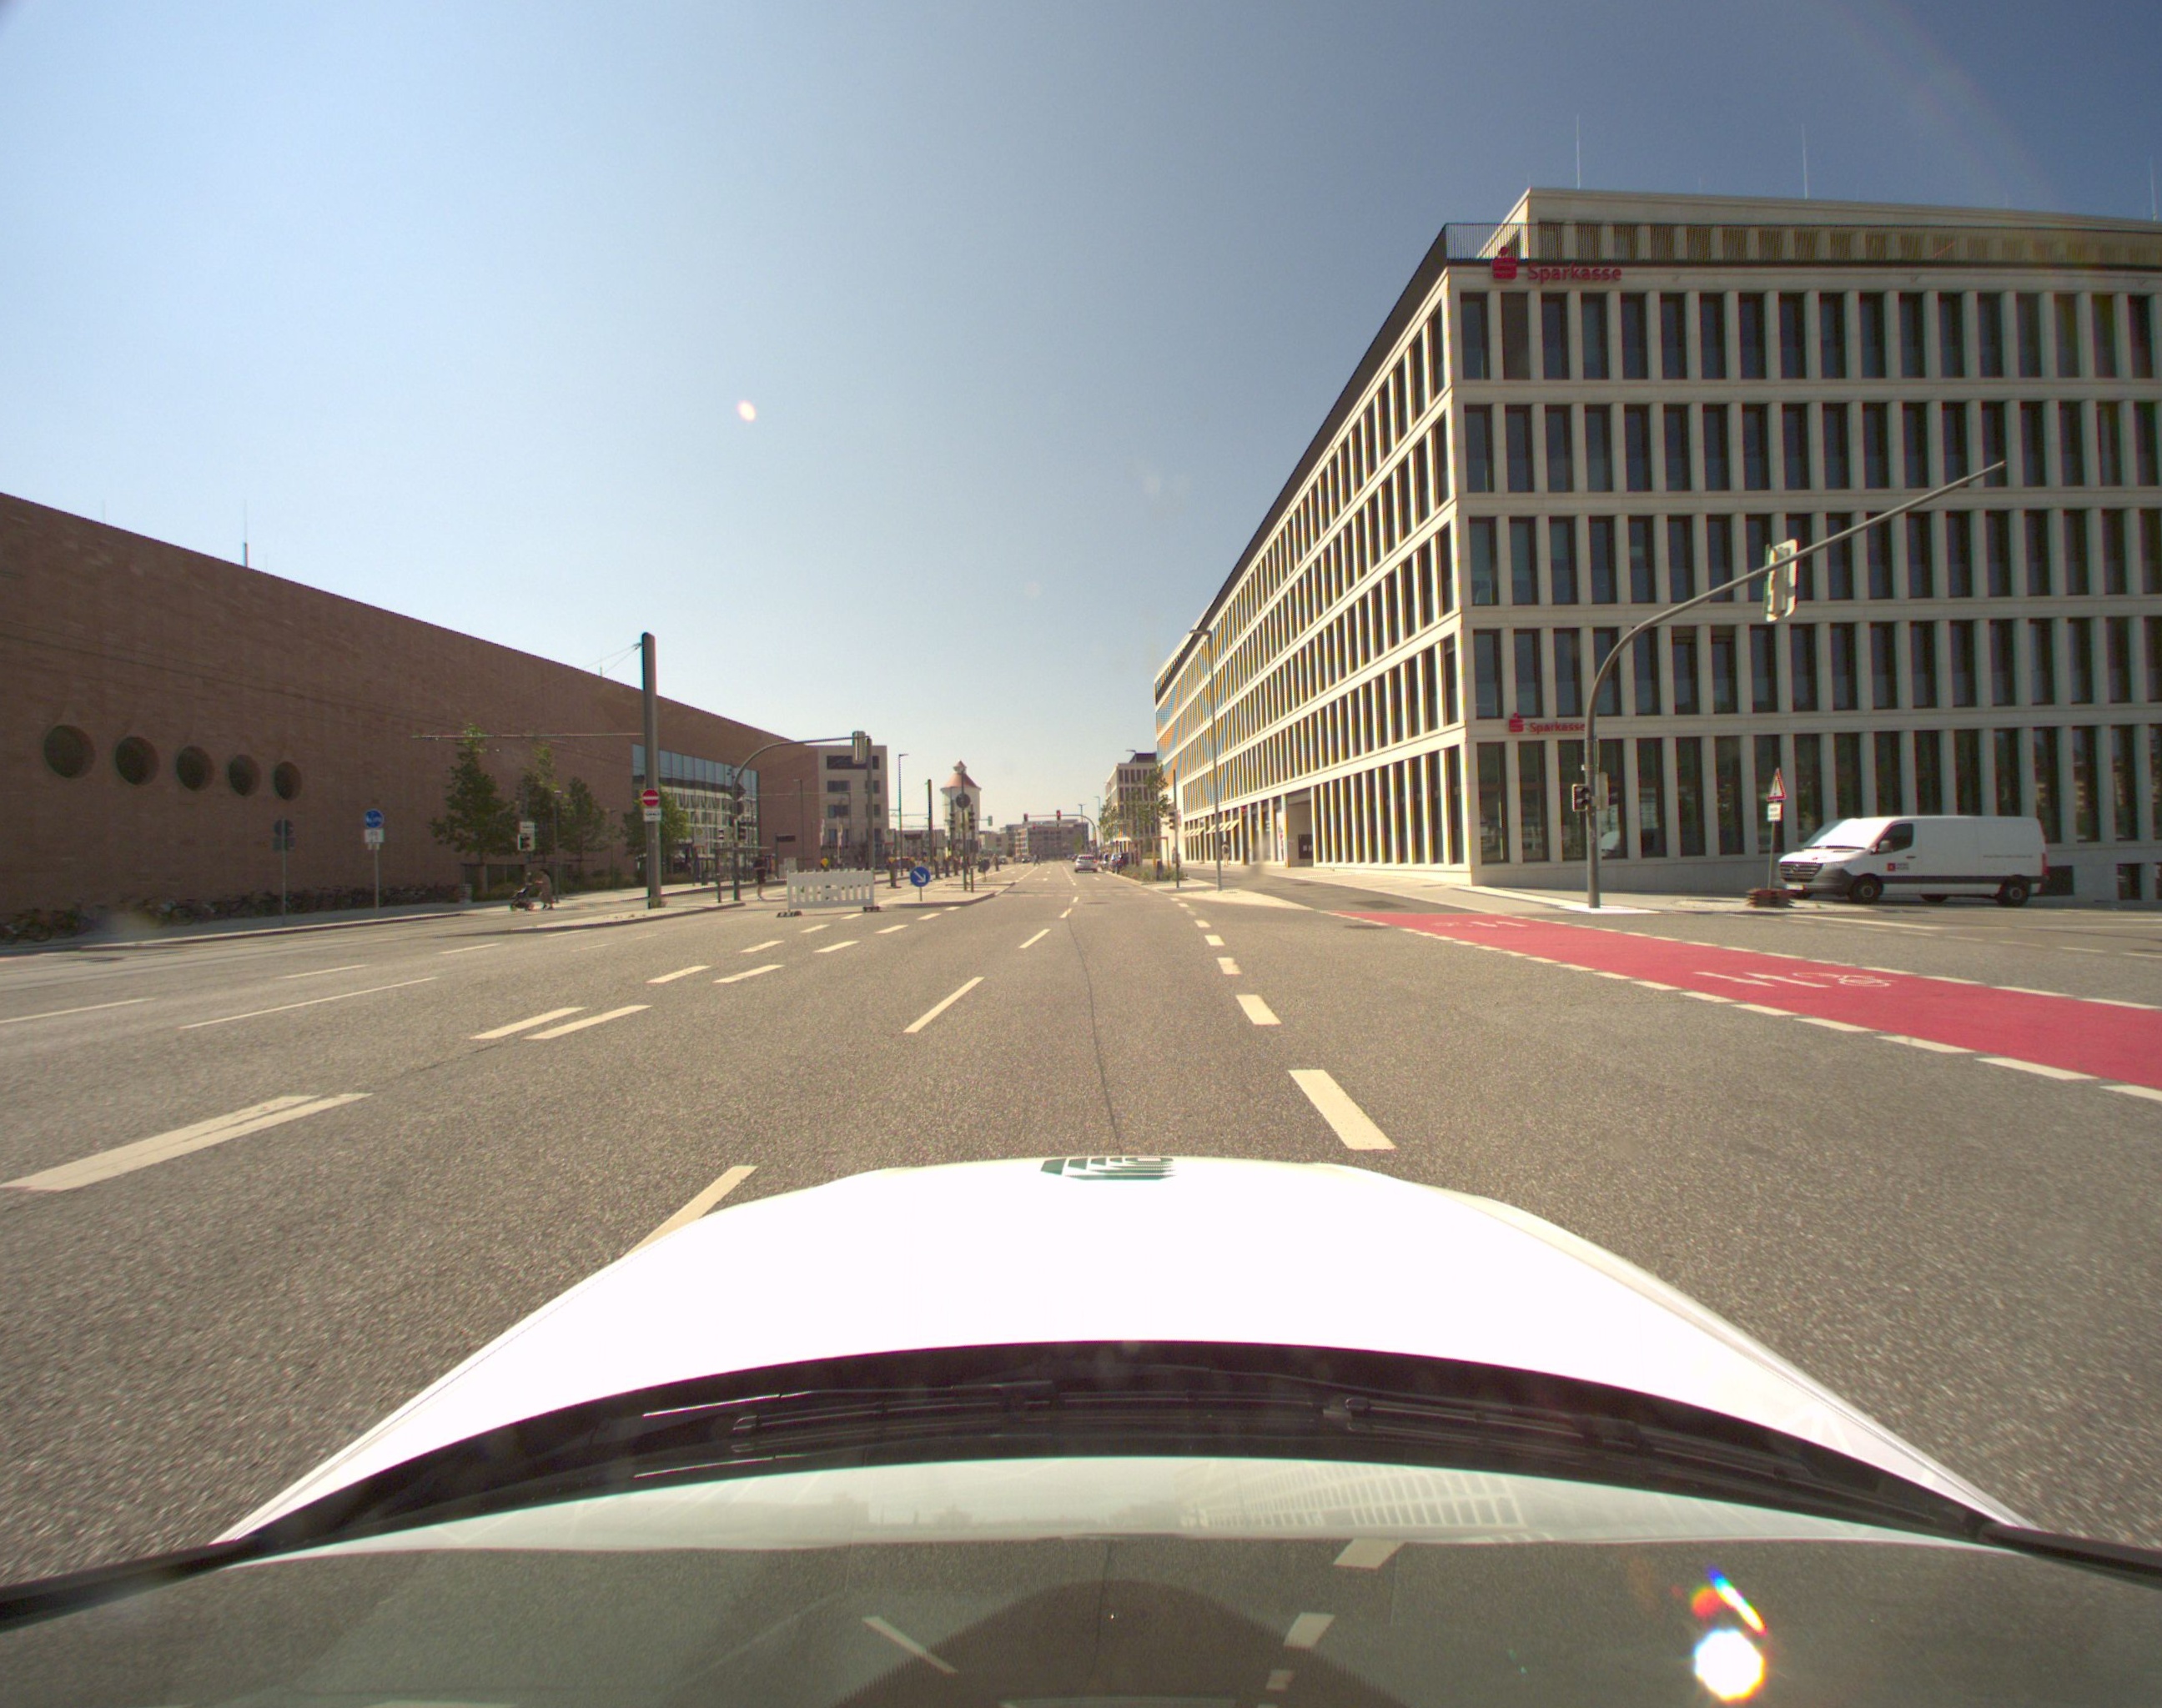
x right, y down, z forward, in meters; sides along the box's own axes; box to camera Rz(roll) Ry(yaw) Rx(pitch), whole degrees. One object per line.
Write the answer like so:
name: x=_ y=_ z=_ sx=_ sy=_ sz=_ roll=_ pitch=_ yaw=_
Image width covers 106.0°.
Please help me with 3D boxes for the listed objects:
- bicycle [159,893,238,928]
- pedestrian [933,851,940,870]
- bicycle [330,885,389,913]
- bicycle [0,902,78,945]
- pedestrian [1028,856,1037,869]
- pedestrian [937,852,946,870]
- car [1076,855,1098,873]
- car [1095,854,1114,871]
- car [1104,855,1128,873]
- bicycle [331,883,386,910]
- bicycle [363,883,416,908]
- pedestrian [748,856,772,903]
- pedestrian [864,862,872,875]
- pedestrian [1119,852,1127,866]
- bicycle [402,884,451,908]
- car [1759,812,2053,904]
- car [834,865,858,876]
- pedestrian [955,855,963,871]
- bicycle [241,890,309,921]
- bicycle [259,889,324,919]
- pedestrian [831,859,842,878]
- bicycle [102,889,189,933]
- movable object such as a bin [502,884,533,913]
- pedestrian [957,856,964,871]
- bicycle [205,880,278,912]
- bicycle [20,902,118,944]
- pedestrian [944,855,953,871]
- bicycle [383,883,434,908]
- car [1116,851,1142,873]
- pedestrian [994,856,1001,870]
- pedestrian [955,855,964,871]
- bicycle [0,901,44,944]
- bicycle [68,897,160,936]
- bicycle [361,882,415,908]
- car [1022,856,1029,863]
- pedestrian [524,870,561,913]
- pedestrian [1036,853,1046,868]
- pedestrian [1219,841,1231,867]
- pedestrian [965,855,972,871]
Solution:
bicycle: x=-33.258 y=2.129 z=30.721 sx=2.053 sy=1.212 sz=0.537 roll=-1 pitch=0 yaw=-13
pedestrian: x=-14.195 y=0.649 z=79.895 sx=0.552 sy=1.820 sz=0.596 roll=0 pitch=-1 yaw=-23
bicycle: x=-34.520 y=2.141 z=38.987 sx=2.053 sy=1.212 sz=0.537 roll=-1 pitch=0 yaw=-13
bicycle: x=-32.097 y=2.127 z=24.787 sx=2.053 sy=1.212 sz=0.537 roll=-1 pitch=0 yaw=-13
pedestrian: x=-6.257 y=1.070 z=105.726 sx=0.896 sy=1.674 sz=1.006 roll=-2 pitch=0 yaw=-20
pedestrian: x=-14.147 y=0.748 z=82.563 sx=0.666 sy=1.820 sz=0.717 roll=0 pitch=-1 yaw=-25
car: x=0.475 y=0.799 z=65.905 sx=1.766 sy=1.395 sz=3.531 roll=0 pitch=-1 yaw=0
car: x=2.112 y=0.795 z=74.137 sx=1.552 sy=1.472 sz=3.467 roll=-2 pitch=0 yaw=-2
car: x=2.810 y=0.811 z=66.184 sx=1.601 sy=1.388 sz=3.812 roll=-2 pitch=0 yaw=-2
bicycle: x=-35.307 y=2.060 z=39.820 sx=1.883 sy=1.212 sz=0.744 roll=-1 pitch=0 yaw=-9
bicycle: x=-35.910 y=2.133 z=42.325 sx=2.053 sy=1.212 sz=0.537 roll=-1 pitch=0 yaw=-13
pedestrian: x=-12.660 y=0.990 z=32.108 sx=0.650 sy=1.833 sz=0.661 roll=-1 pitch=0 yaw=2
pedestrian: x=-27.060 y=1.804 z=103.332 sx=0.709 sy=1.572 sz=0.890 roll=-2 pitch=0 yaw=-3
pedestrian: x=5.074 y=0.621 z=98.850 sx=0.760 sy=1.620 sz=0.694 roll=-2 pitch=0 yaw=15
bicycle: x=-36.095 y=2.310 z=44.948 sx=2.053 sy=1.212 sz=0.537 roll=-1 pitch=0 yaw=-13
car: x=21.731 y=0.103 z=21.621 sx=5.821 sy=2.270 sz=2.145 roll=0 pitch=0 yaw=-2
car: x=-40.089 y=2.803 z=139.043 sx=3.947 sy=1.816 sz=1.789 roll=-1 pitch=-1 yaw=-14
pedestrian: x=-14.619 y=1.095 z=97.415 sx=0.887 sy=1.890 sz=0.690 roll=-2 pitch=0 yaw=-7
bicycle: x=-33.975 y=2.173 z=34.353 sx=2.053 sy=1.212 sz=0.537 roll=-1 pitch=0 yaw=-13
bicycle: x=-34.626 y=2.169 z=35.744 sx=2.053 sy=1.212 sz=0.537 roll=-1 pitch=0 yaw=-13
pedestrian: x=-22.888 y=1.339 z=76.254 sx=0.809 sy=1.820 sz=0.824 roll=-1 pitch=-1 yaw=-2
bicycle: x=-32.903 y=1.985 z=28.668 sx=2.053 sy=1.453 sz=0.537 roll=-1 pitch=0 yaw=-13
movable object such as a bin: x=-21.256 y=1.672 z=30.736 sx=0.714 sy=1.032 sz=0.790 roll=-1 pitch=0 yaw=-15
pedestrian: x=-15.057 y=1.145 z=102.174 sx=0.731 sy=1.890 sz=0.714 roll=0 pitch=-1 yaw=3
bicycle: x=-33.945 y=1.684 z=32.949 sx=2.053 sy=1.212 sz=0.537 roll=-1 pitch=0 yaw=-13
bicycle: x=-32.248 y=2.200 z=25.976 sx=2.053 sy=1.212 sz=0.537 roll=-1 pitch=0 yaw=-13
pedestrian: x=-15.656 y=1.082 z=96.250 sx=0.887 sy=1.890 sz=0.690 roll=-2 pitch=0 yaw=-7
bicycle: x=-36.032 y=2.221 z=43.620 sx=2.053 sy=1.212 sz=0.537 roll=-1 pitch=0 yaw=-13
car: x=3.457 y=0.597 z=58.886 sx=1.730 sy=1.474 sz=3.981 roll=-1 pitch=-1 yaw=1
pedestrian: x=-10.571 y=1.108 z=102.809 sx=0.764 sy=1.734 sz=0.691 roll=-2 pitch=0 yaw=-1
pedestrian: x=-14.342 y=1.029 z=95.999 sx=0.887 sy=1.890 sz=0.690 roll=-2 pitch=0 yaw=-7
bicycle: x=-32.088 y=2.051 z=23.963 sx=2.053 sy=1.212 sz=0.537 roll=-1 pitch=0 yaw=-13
bicycle: x=-32.798 y=2.108 z=27.644 sx=2.054 sy=1.212 sz=0.537 roll=-1 pitch=0 yaw=-15
bicycle: x=-35.448 y=2.089 z=41.684 sx=2.053 sy=1.212 sz=0.537 roll=-1 pitch=0 yaw=-13
car: x=-13.549 y=1.309 z=199.494 sx=1.583 sy=1.530 sz=3.688 roll=-1 pitch=-1 yaw=-3
pedestrian: x=-20.464 y=1.420 z=30.957 sx=0.931 sy=1.562 sz=0.789 roll=-1 pitch=0 yaw=-16
pedestrian: x=-5.239 y=0.860 z=106.212 sx=1.023 sy=2.013 sz=0.948 roll=-2 pitch=0 yaw=-20
pedestrian: x=9.672 y=0.016 z=54.653 sx=0.626 sy=1.742 sz=0.813 roll=-2 pitch=0 yaw=-2
pedestrian: x=-13.870 y=1.133 z=100.482 sx=0.764 sy=1.890 sz=0.691 roll=-2 pitch=0 yaw=-1
